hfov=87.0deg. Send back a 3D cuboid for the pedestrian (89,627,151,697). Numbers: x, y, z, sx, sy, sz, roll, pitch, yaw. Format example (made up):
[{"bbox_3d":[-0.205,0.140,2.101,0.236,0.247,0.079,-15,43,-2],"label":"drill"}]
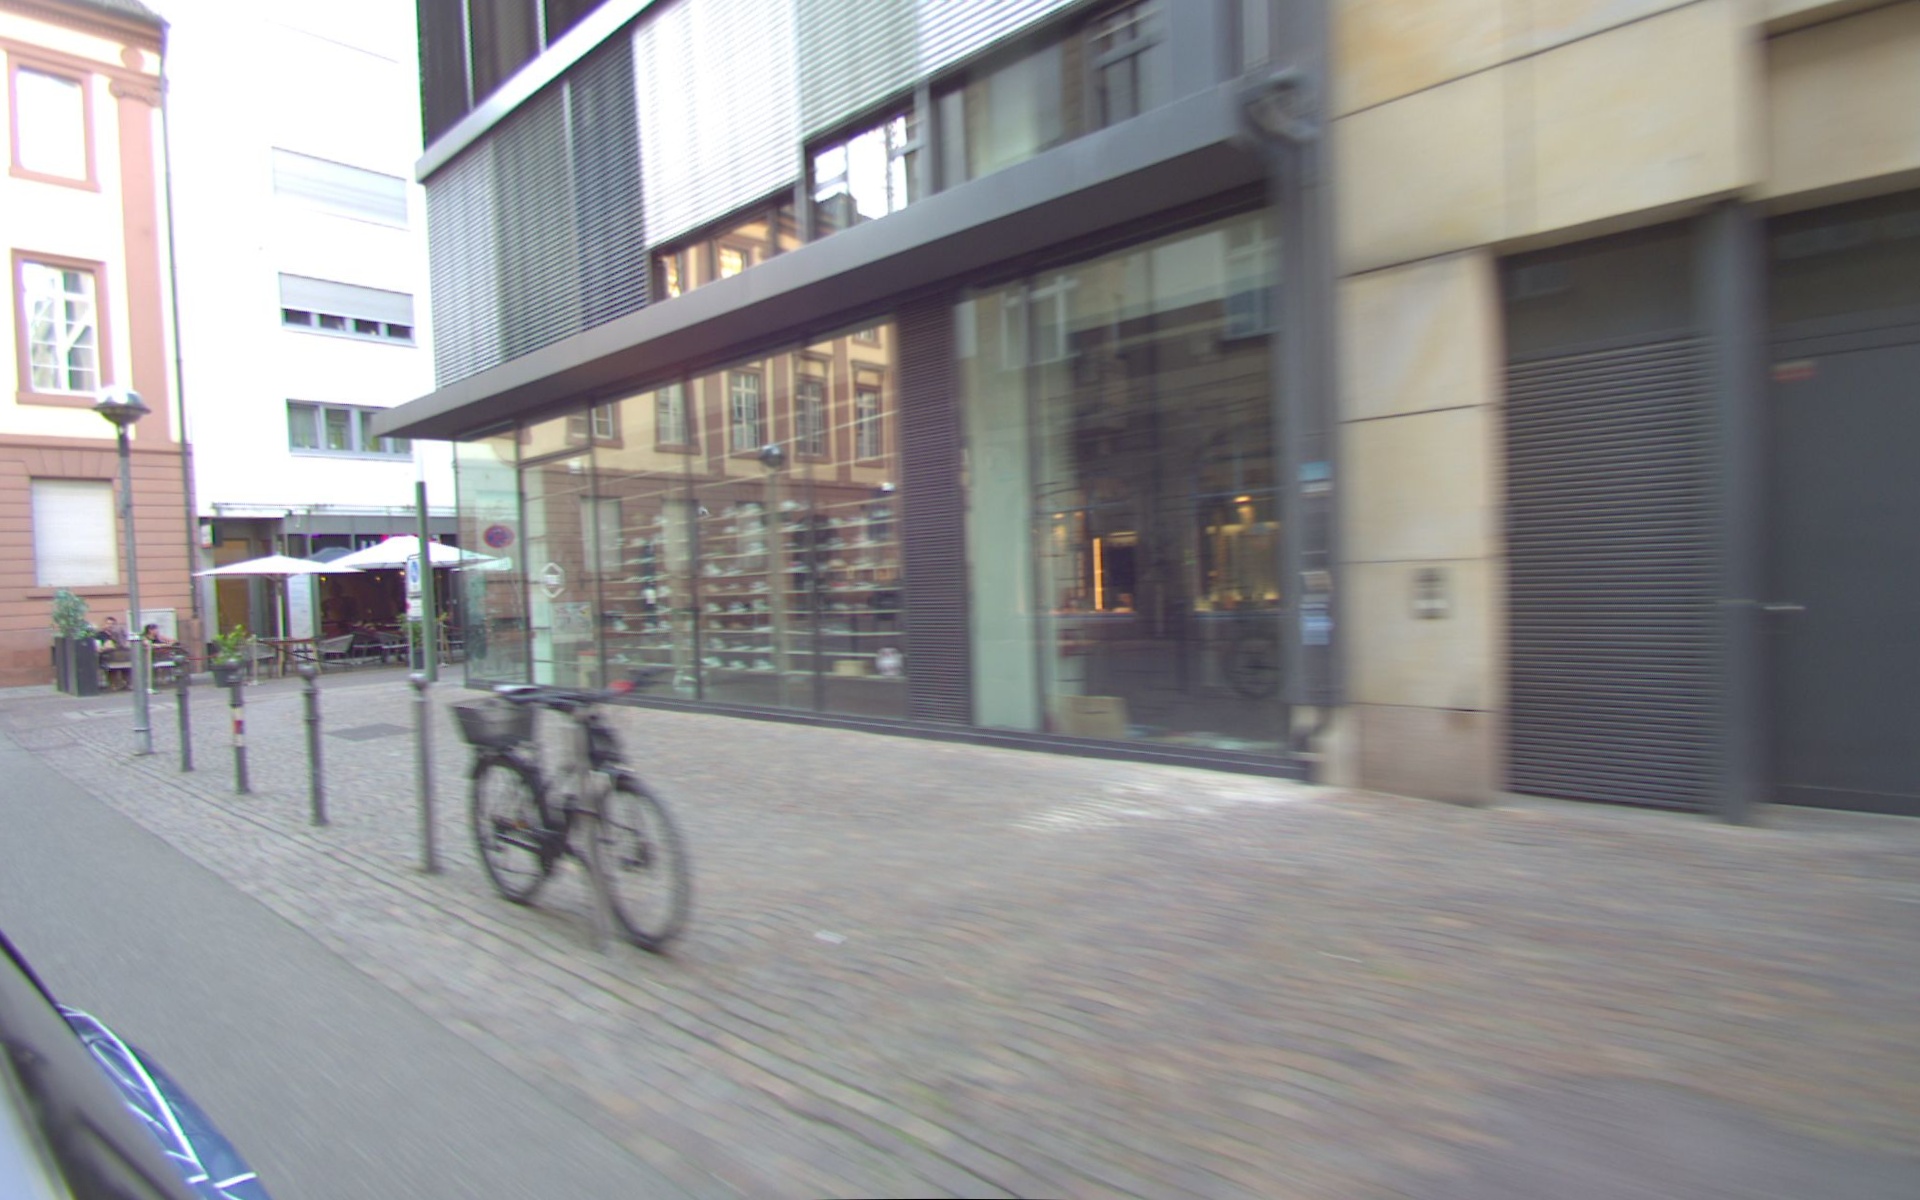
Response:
[{"bbox_3d":[-15.303,1.115,18.435,0.791,1.192,0.665,0,2,36],"label":"pedestrian"}]

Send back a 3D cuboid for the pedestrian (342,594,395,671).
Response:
[{"bbox_3d":[-13.287,0.718,22.739,0.791,1.661,0.717,-2,1,36],"label":"pedestrian"}]

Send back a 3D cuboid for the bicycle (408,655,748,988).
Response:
[{"bbox_3d":[-1.733,0.837,4.396,1.928,1.141,0.406,-2,1,39],"label":"bicycle"}]

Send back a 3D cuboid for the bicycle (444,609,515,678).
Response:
[{"bbox_3d":[-8.553,0.793,17.978,1.702,1.145,0.460,-4,-1,42],"label":"bicycle"}]

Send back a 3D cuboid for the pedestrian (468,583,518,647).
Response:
[{"bbox_3d":[-12.708,0.410,27.551,0.854,1.671,0.793,-2,1,25],"label":"pedestrian"}]

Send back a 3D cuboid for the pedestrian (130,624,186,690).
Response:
[{"bbox_3d":[-15.595,1.088,19.679,0.792,1.192,0.665,0,2,40],"label":"pedestrian"}]

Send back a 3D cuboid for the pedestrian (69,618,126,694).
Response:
[{"bbox_3d":[-16.272,1.040,19.089,0.792,1.341,0.665,0,2,40],"label":"pedestrian"}]
